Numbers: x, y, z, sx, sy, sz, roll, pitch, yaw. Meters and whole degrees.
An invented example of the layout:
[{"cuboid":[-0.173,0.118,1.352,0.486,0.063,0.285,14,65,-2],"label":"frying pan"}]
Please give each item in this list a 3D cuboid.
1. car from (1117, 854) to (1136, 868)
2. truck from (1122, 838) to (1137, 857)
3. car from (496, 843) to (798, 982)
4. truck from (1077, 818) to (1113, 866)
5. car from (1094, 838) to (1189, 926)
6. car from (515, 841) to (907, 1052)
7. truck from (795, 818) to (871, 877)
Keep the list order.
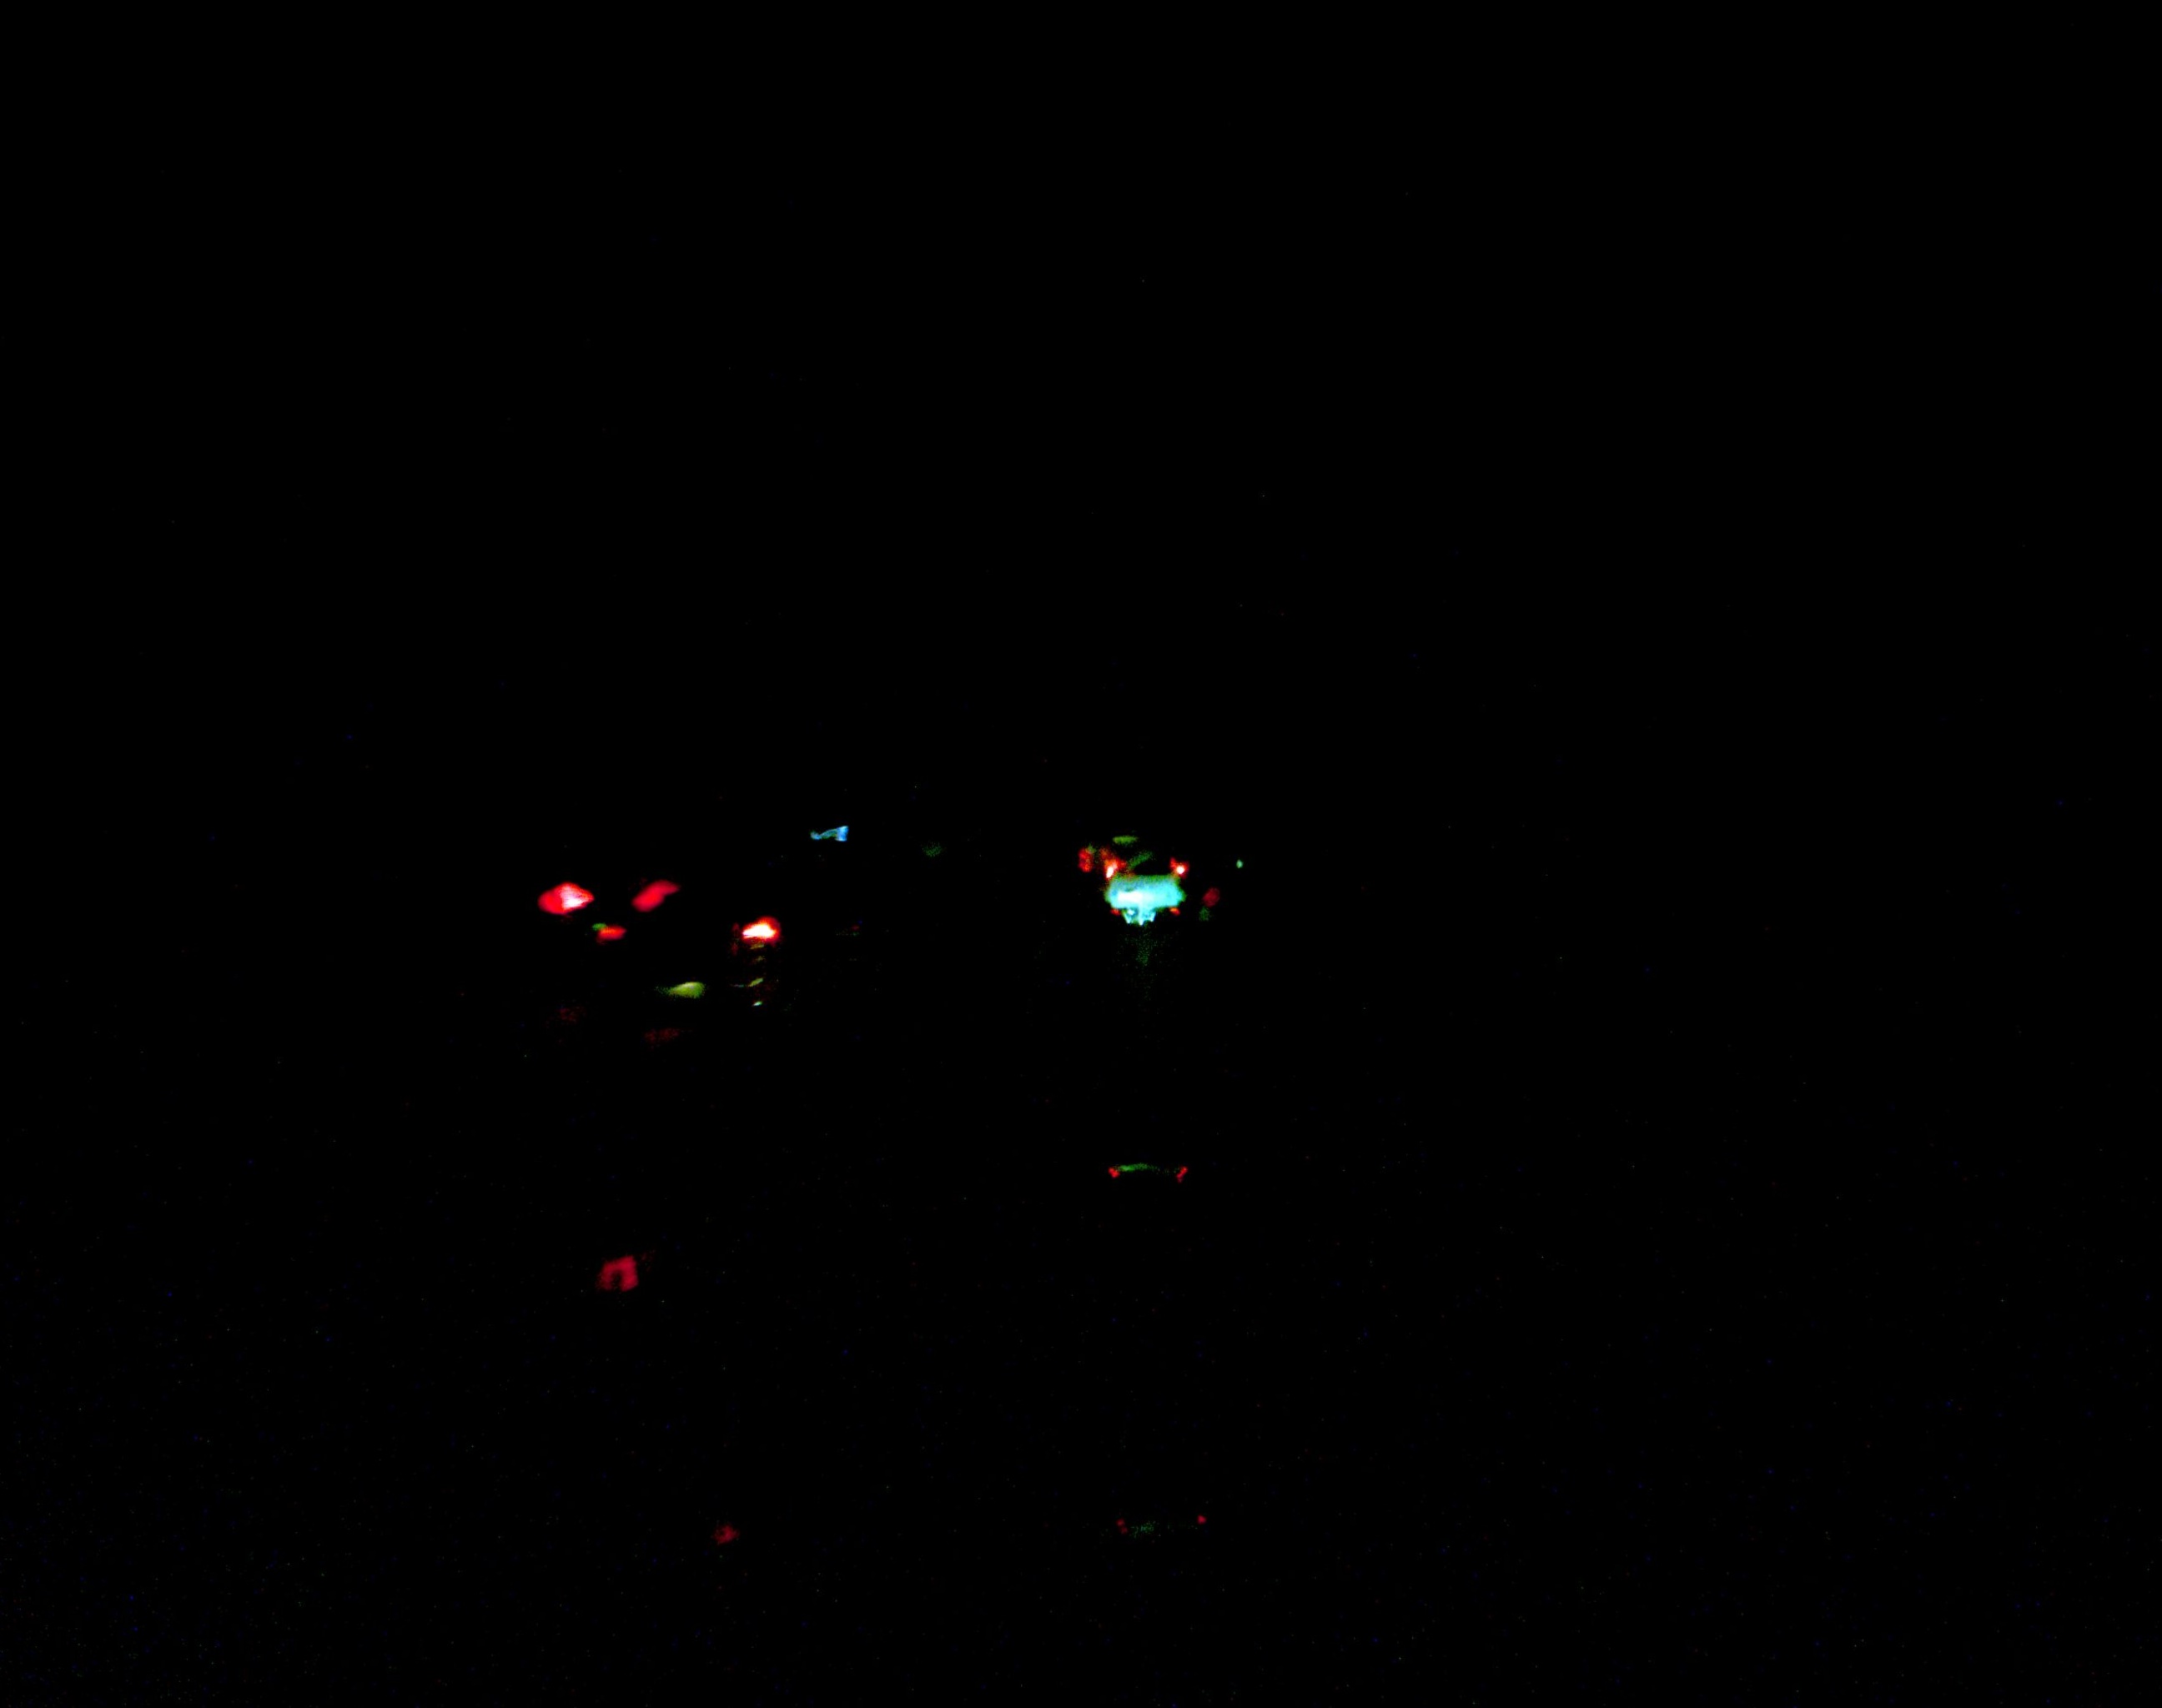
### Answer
[{"cuboid":[4.711,0.695,84.626,1.883,1.354,4.001,3,0,2],"label":"car"},{"cuboid":[12.993,-1.665,220.820,3.809,4.915,11.611,0,-1,2],"label":"truck"},{"cuboid":[-6.475,0.786,12.989,1.985,1.777,4.891,0,-1,3],"label":"car"},{"cuboid":[1.920,-1.268,101.119,4.151,5.544,13.080,0,-1,2],"label":"truck"},{"cuboid":[1.309,0.600,19.334,1.946,1.792,5.125,0,-1,1],"label":"car"},{"cuboid":[-3.268,0.731,8.307,1.908,1.594,4.236,0,-1,2],"label":"car"},{"cuboid":[-20.266,-0.475,66.862,4.150,4.624,5.851,0,-1,3],"label":"truck"}]
